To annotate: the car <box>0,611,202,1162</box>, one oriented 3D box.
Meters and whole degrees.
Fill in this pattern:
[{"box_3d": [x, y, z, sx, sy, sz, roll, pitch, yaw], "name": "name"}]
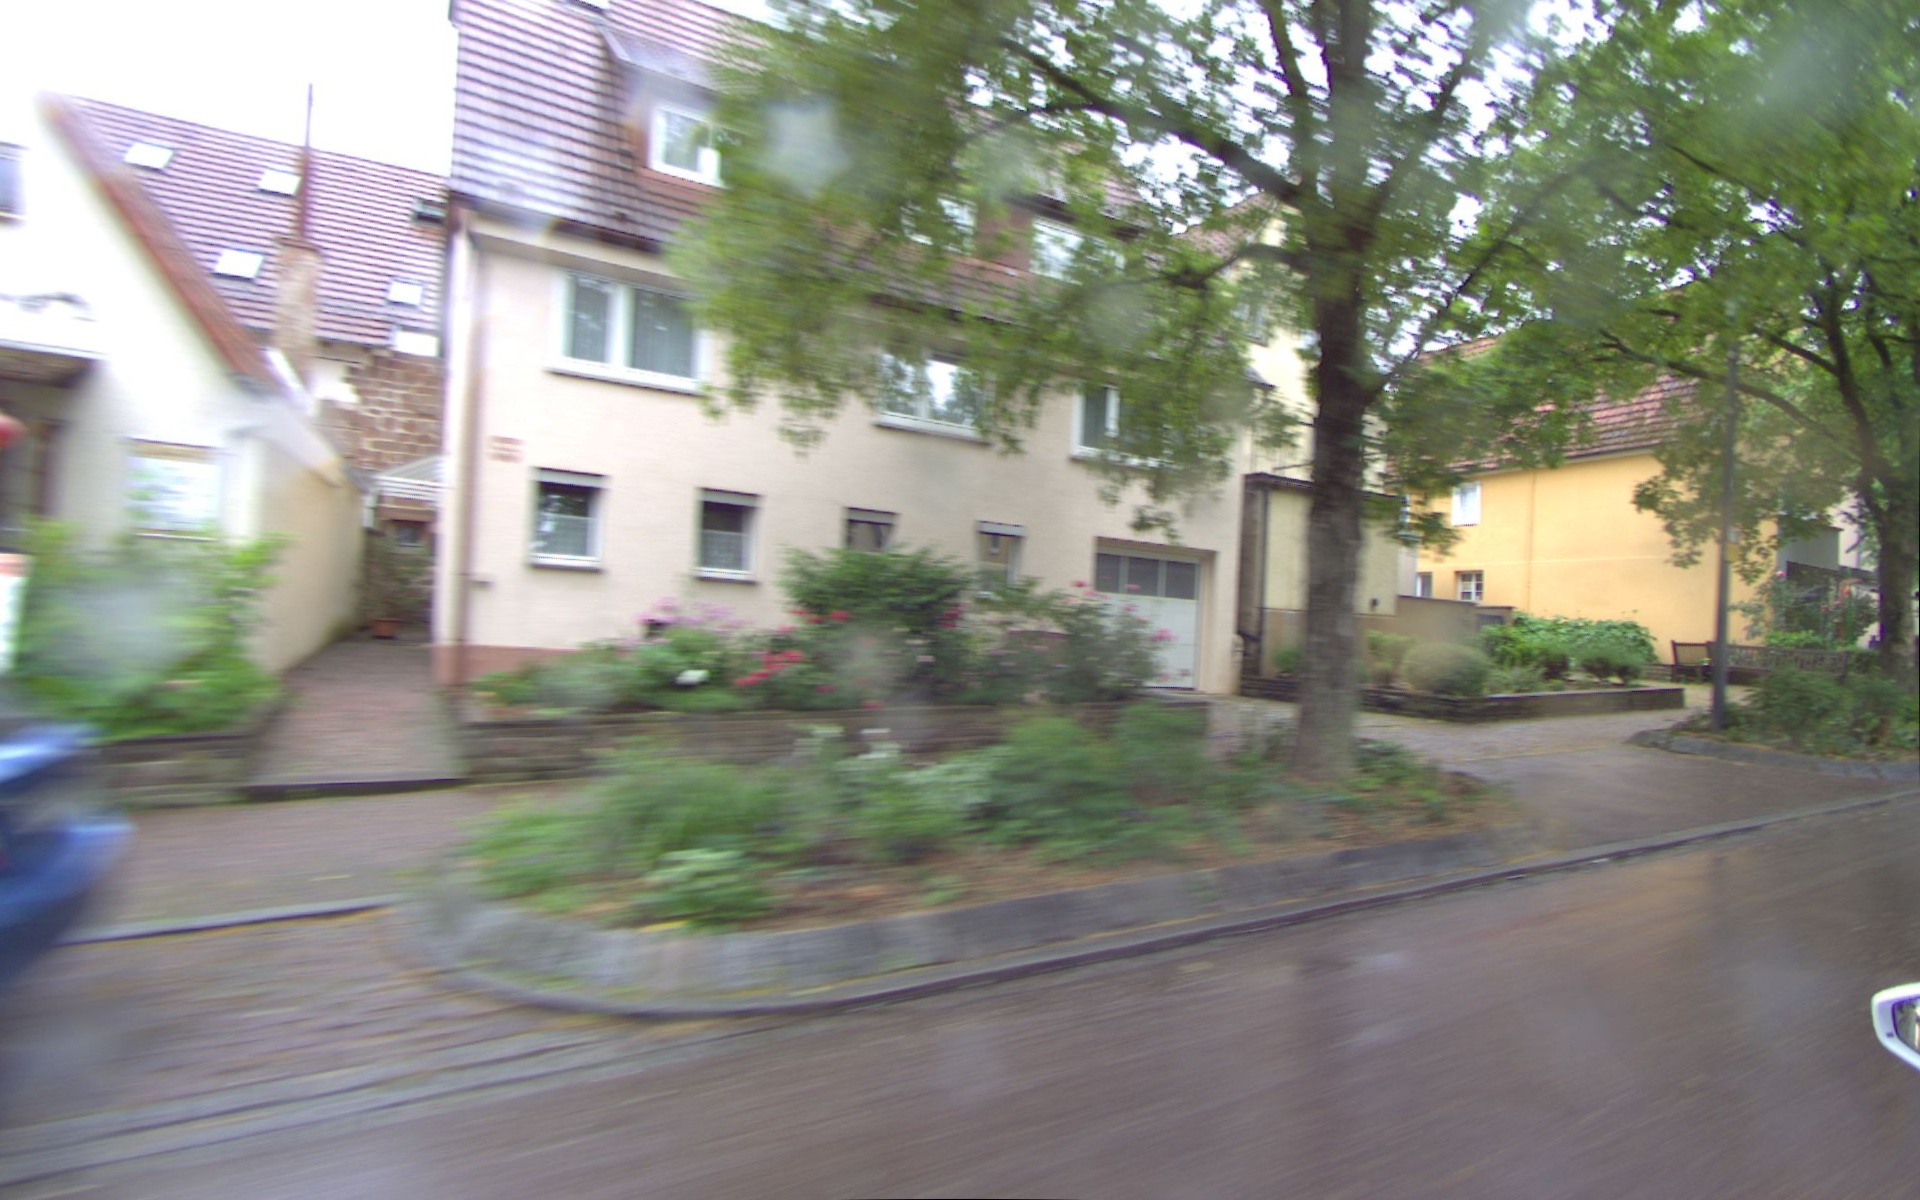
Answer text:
[{"box_3d": [-4.427, 0.724, 2.546, 3.750, 1.414, 1.741, 2, 0, -30], "name": "car"}]
